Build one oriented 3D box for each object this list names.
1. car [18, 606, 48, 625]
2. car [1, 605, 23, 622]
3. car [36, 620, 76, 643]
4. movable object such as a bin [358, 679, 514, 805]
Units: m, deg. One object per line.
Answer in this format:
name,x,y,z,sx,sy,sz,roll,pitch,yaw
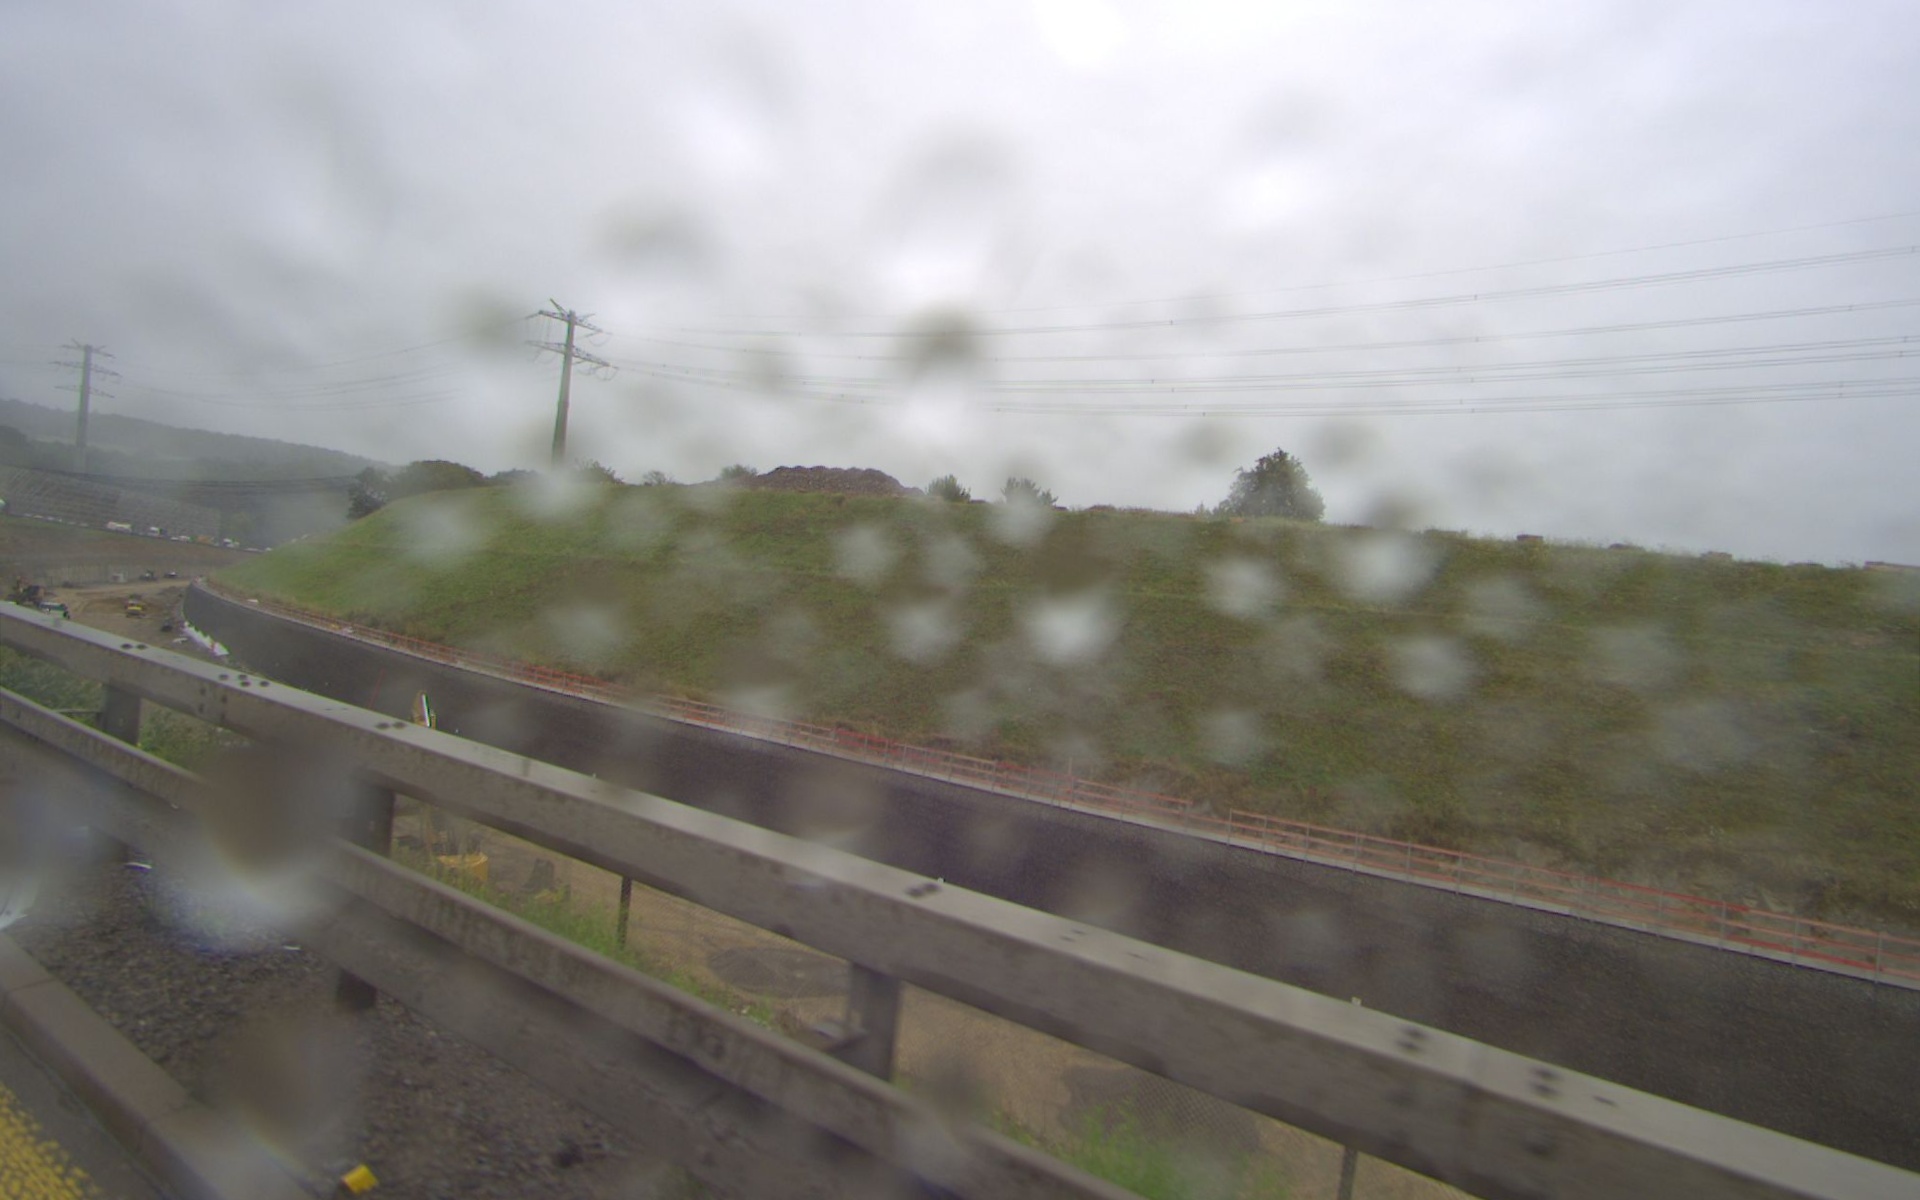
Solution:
car,-116.008,1.927,125.902,3.939,1.837,1.995,6,-2,37
car,-136.307,1.937,144.616,1.988,2.036,3.952,10,-2,-42
car,-102.943,3.613,114.604,3.936,2.036,2.369,7,-2,35
movable object such as a bin,-20.015,5.388,38.471,4.054,3.910,3.222,8,-2,32
